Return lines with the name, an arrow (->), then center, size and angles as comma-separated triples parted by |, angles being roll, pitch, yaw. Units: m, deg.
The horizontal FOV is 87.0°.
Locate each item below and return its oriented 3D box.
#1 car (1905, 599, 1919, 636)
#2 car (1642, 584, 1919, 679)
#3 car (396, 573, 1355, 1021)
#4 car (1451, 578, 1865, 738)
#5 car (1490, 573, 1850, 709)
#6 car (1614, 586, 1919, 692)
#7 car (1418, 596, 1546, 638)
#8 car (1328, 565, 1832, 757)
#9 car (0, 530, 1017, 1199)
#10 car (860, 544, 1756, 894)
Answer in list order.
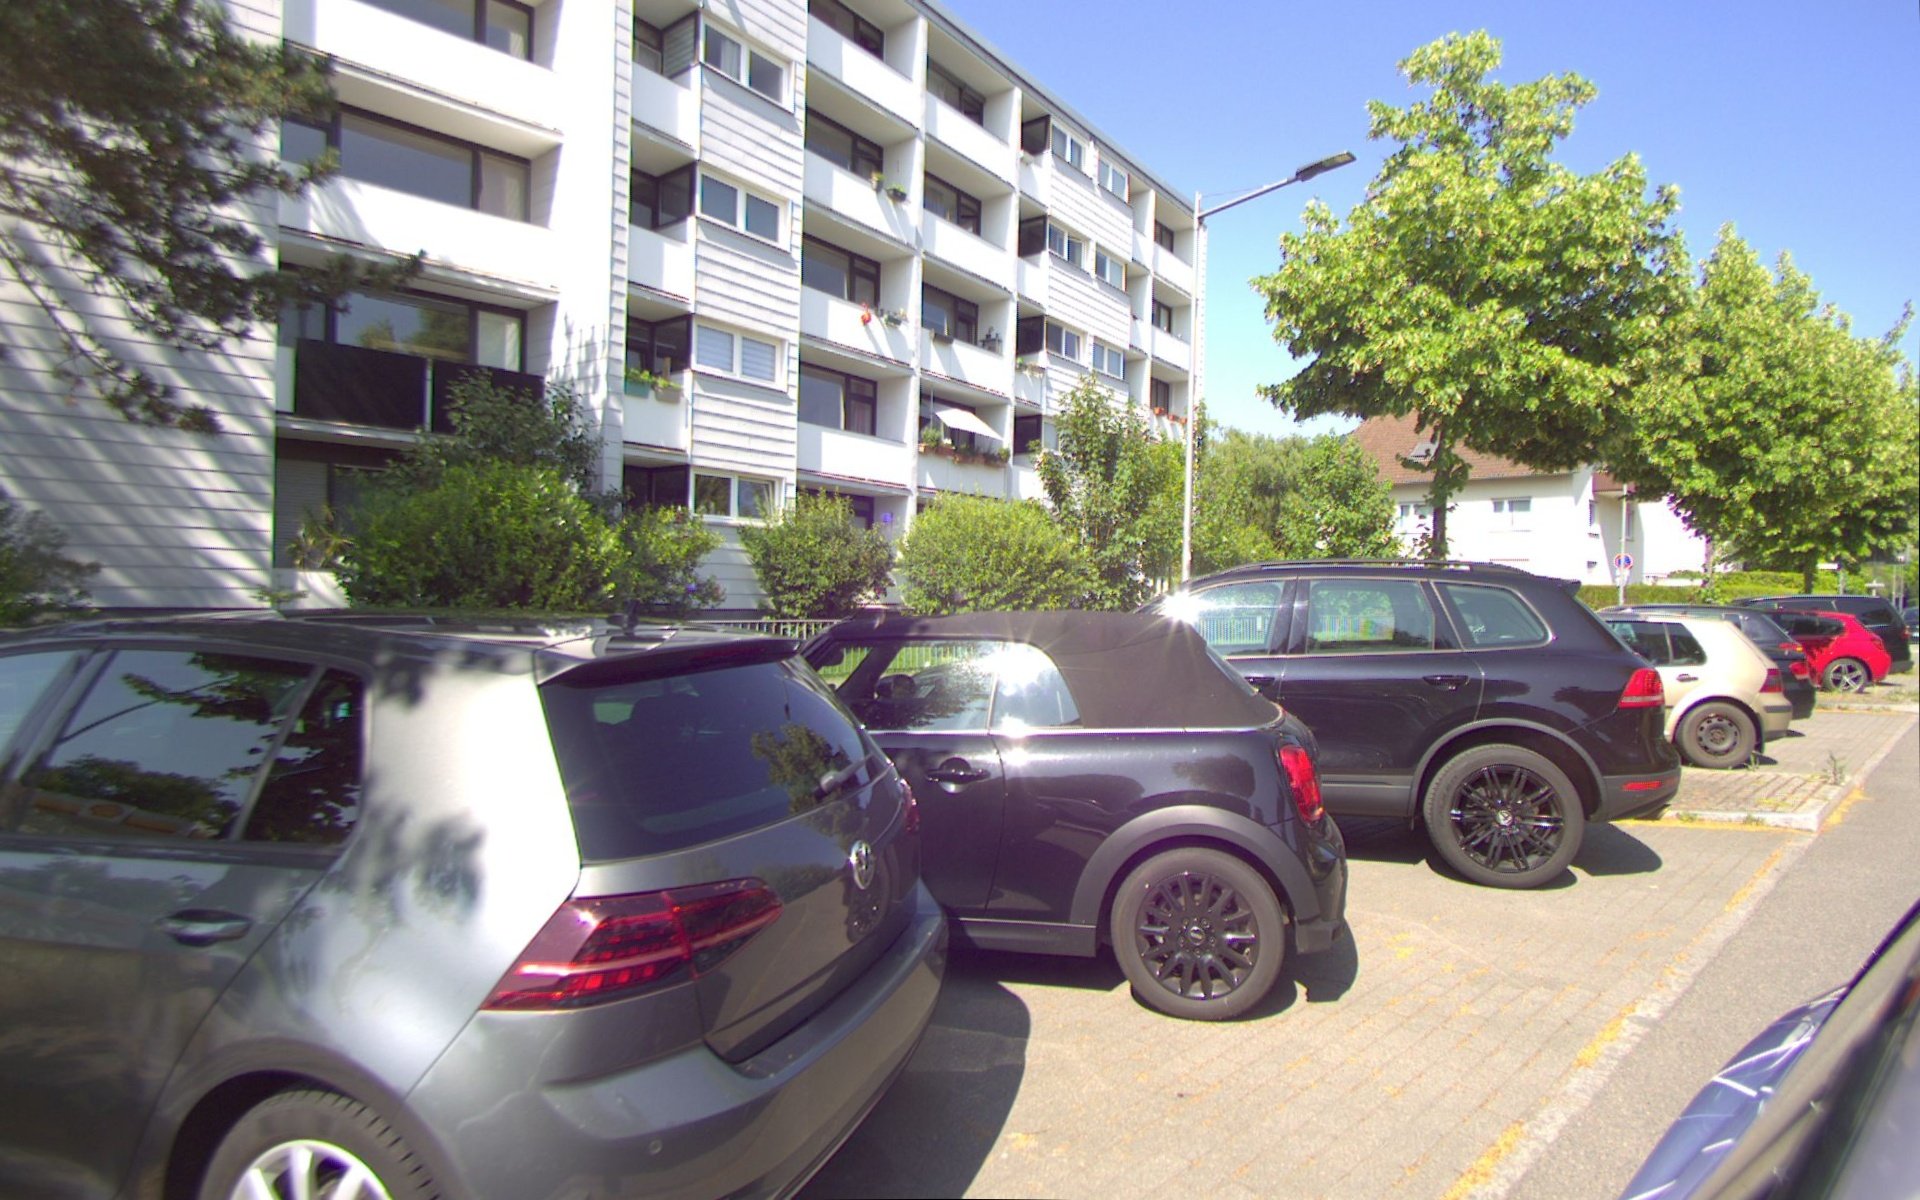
car -> 39.582, 0.705, 41.026 | 3.933, 1.407, 1.618 | 0, 1, -44
car -> 16.016, 0.558, 19.691 | 4.060, 1.660, 2.035 | 1, 1, 15
car -> -0.361, 0.653, 4.812 | 3.941, 1.492, 1.761 | 1, 0, 15
car -> 8.333, 0.615, 12.573 | 3.960, 1.661, 1.737 | 1, 0, 26
car -> 9.786, 0.486, 14.396 | 3.964, 1.660, 1.782 | 1, 1, 29
car -> 13.973, 0.613, 17.567 | 3.934, 1.660, 1.876 | 1, 1, 9
car -> 20.521, 0.652, 39.901 | 1.779, 1.416, 4.122 | 4, -1, -42
car -> 5.969, 0.518, 10.263 | 3.938, 1.660, 1.747 | 1, 1, 12
car -> -2.040, 0.636, 3.003 | 4.062, 1.549, 1.989 | 1, 0, 18
car -> 1.865, 0.531, 6.462 | 4.682, 1.681, 1.743 | 1, 1, 18
